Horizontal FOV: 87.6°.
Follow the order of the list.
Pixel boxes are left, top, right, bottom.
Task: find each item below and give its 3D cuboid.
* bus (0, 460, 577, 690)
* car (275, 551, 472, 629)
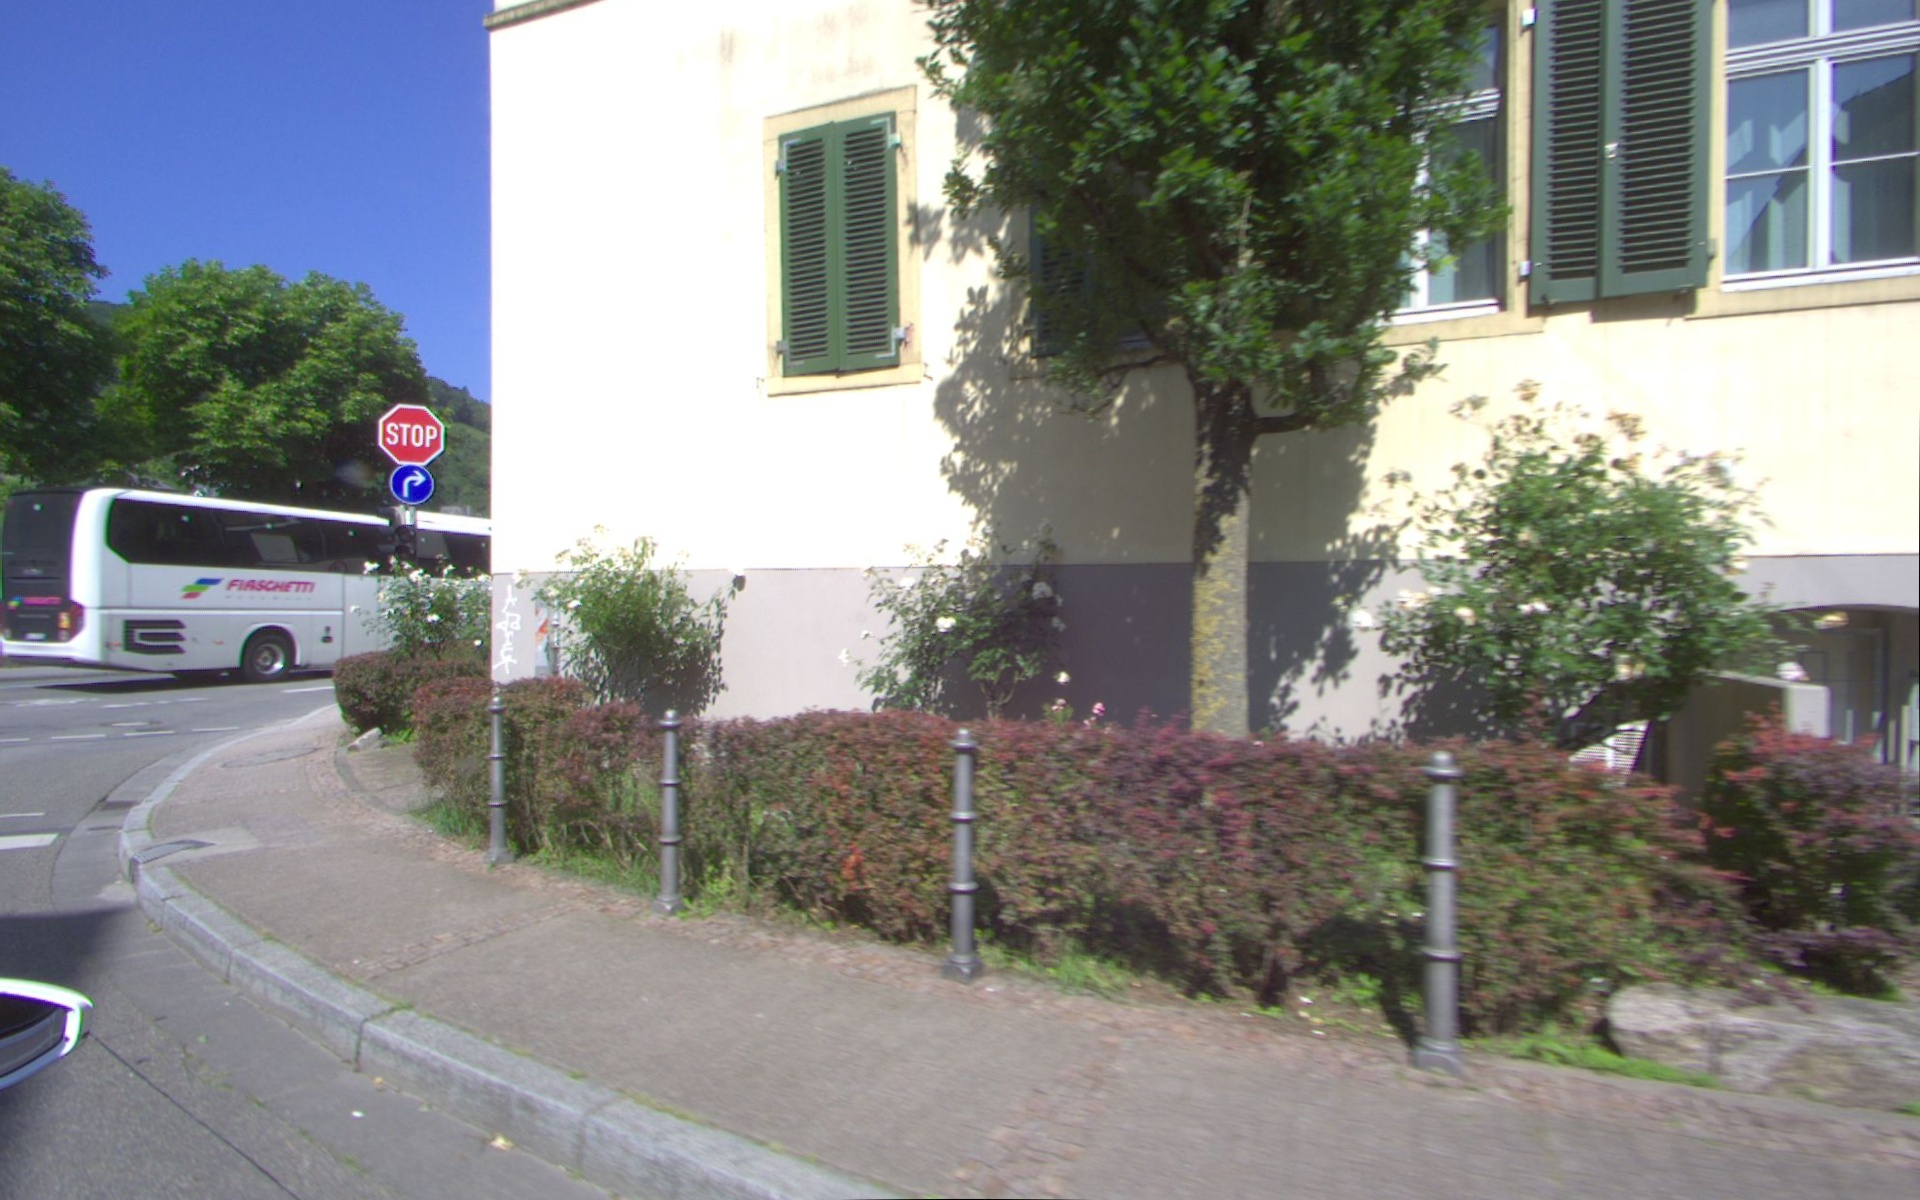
[{"bbox_3d":[-14.121,-0.297,22.942,2.856,3.837,12.159,0,-1,19],"label":"bus"},{"bbox_3d":[-15.391,-0.167,26.558,1.812,1.775,4.404,-3,-3,18],"label":"car"}]
